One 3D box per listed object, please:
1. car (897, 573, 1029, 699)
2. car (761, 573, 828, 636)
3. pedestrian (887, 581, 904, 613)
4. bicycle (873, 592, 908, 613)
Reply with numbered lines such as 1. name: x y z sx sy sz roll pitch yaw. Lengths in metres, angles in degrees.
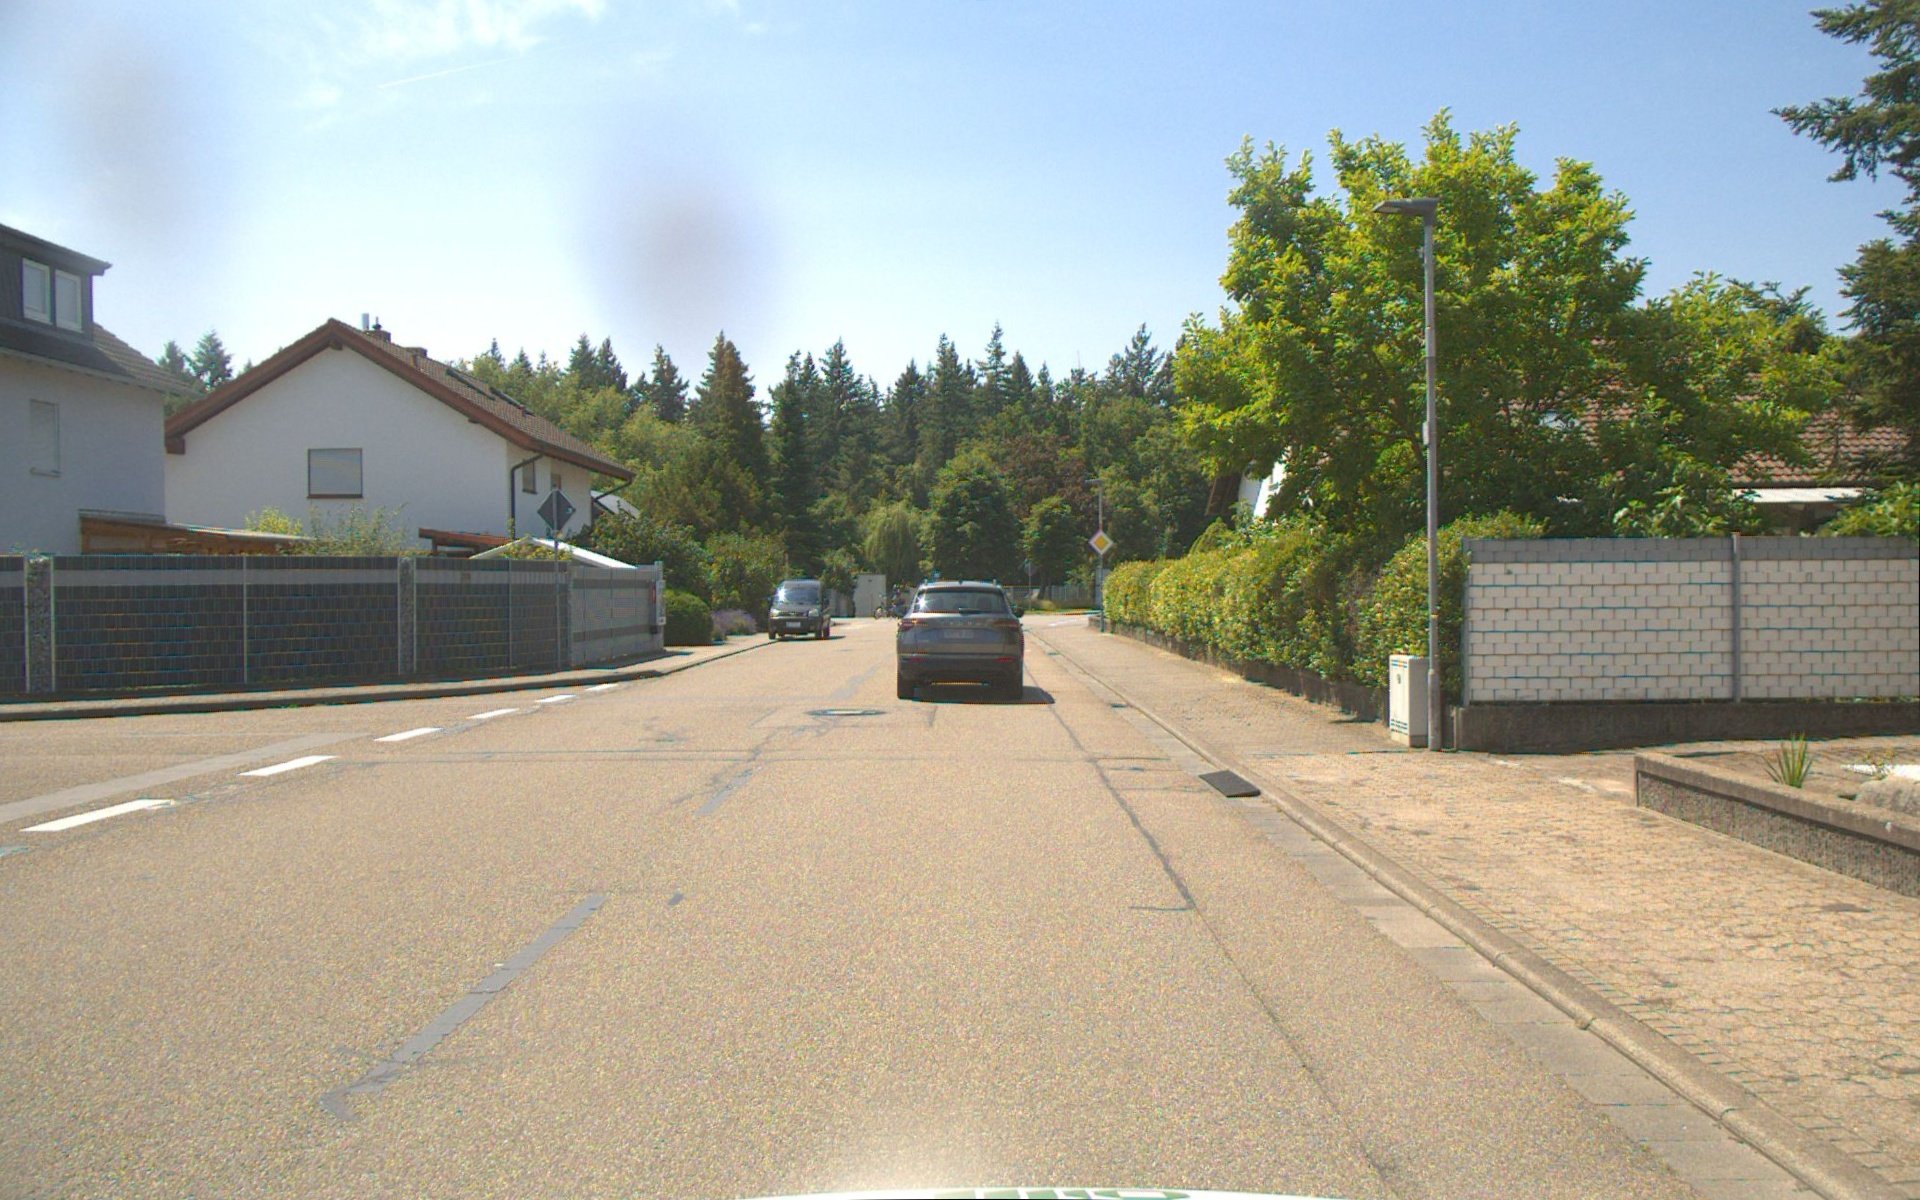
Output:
1. car: 0.021 0.463 23.856 1.726 1.646 3.999 1 0 -1
2. car: -5.091 0.125 51.297 1.683 1.878 4.054 0 0 -1
3. pedestrian: -3.072 -0.137 78.952 0.606 1.527 0.497 -1 0 -40
4. bicycle: -3.336 0.095 79.366 1.832 0.980 0.437 -1 1 -41
